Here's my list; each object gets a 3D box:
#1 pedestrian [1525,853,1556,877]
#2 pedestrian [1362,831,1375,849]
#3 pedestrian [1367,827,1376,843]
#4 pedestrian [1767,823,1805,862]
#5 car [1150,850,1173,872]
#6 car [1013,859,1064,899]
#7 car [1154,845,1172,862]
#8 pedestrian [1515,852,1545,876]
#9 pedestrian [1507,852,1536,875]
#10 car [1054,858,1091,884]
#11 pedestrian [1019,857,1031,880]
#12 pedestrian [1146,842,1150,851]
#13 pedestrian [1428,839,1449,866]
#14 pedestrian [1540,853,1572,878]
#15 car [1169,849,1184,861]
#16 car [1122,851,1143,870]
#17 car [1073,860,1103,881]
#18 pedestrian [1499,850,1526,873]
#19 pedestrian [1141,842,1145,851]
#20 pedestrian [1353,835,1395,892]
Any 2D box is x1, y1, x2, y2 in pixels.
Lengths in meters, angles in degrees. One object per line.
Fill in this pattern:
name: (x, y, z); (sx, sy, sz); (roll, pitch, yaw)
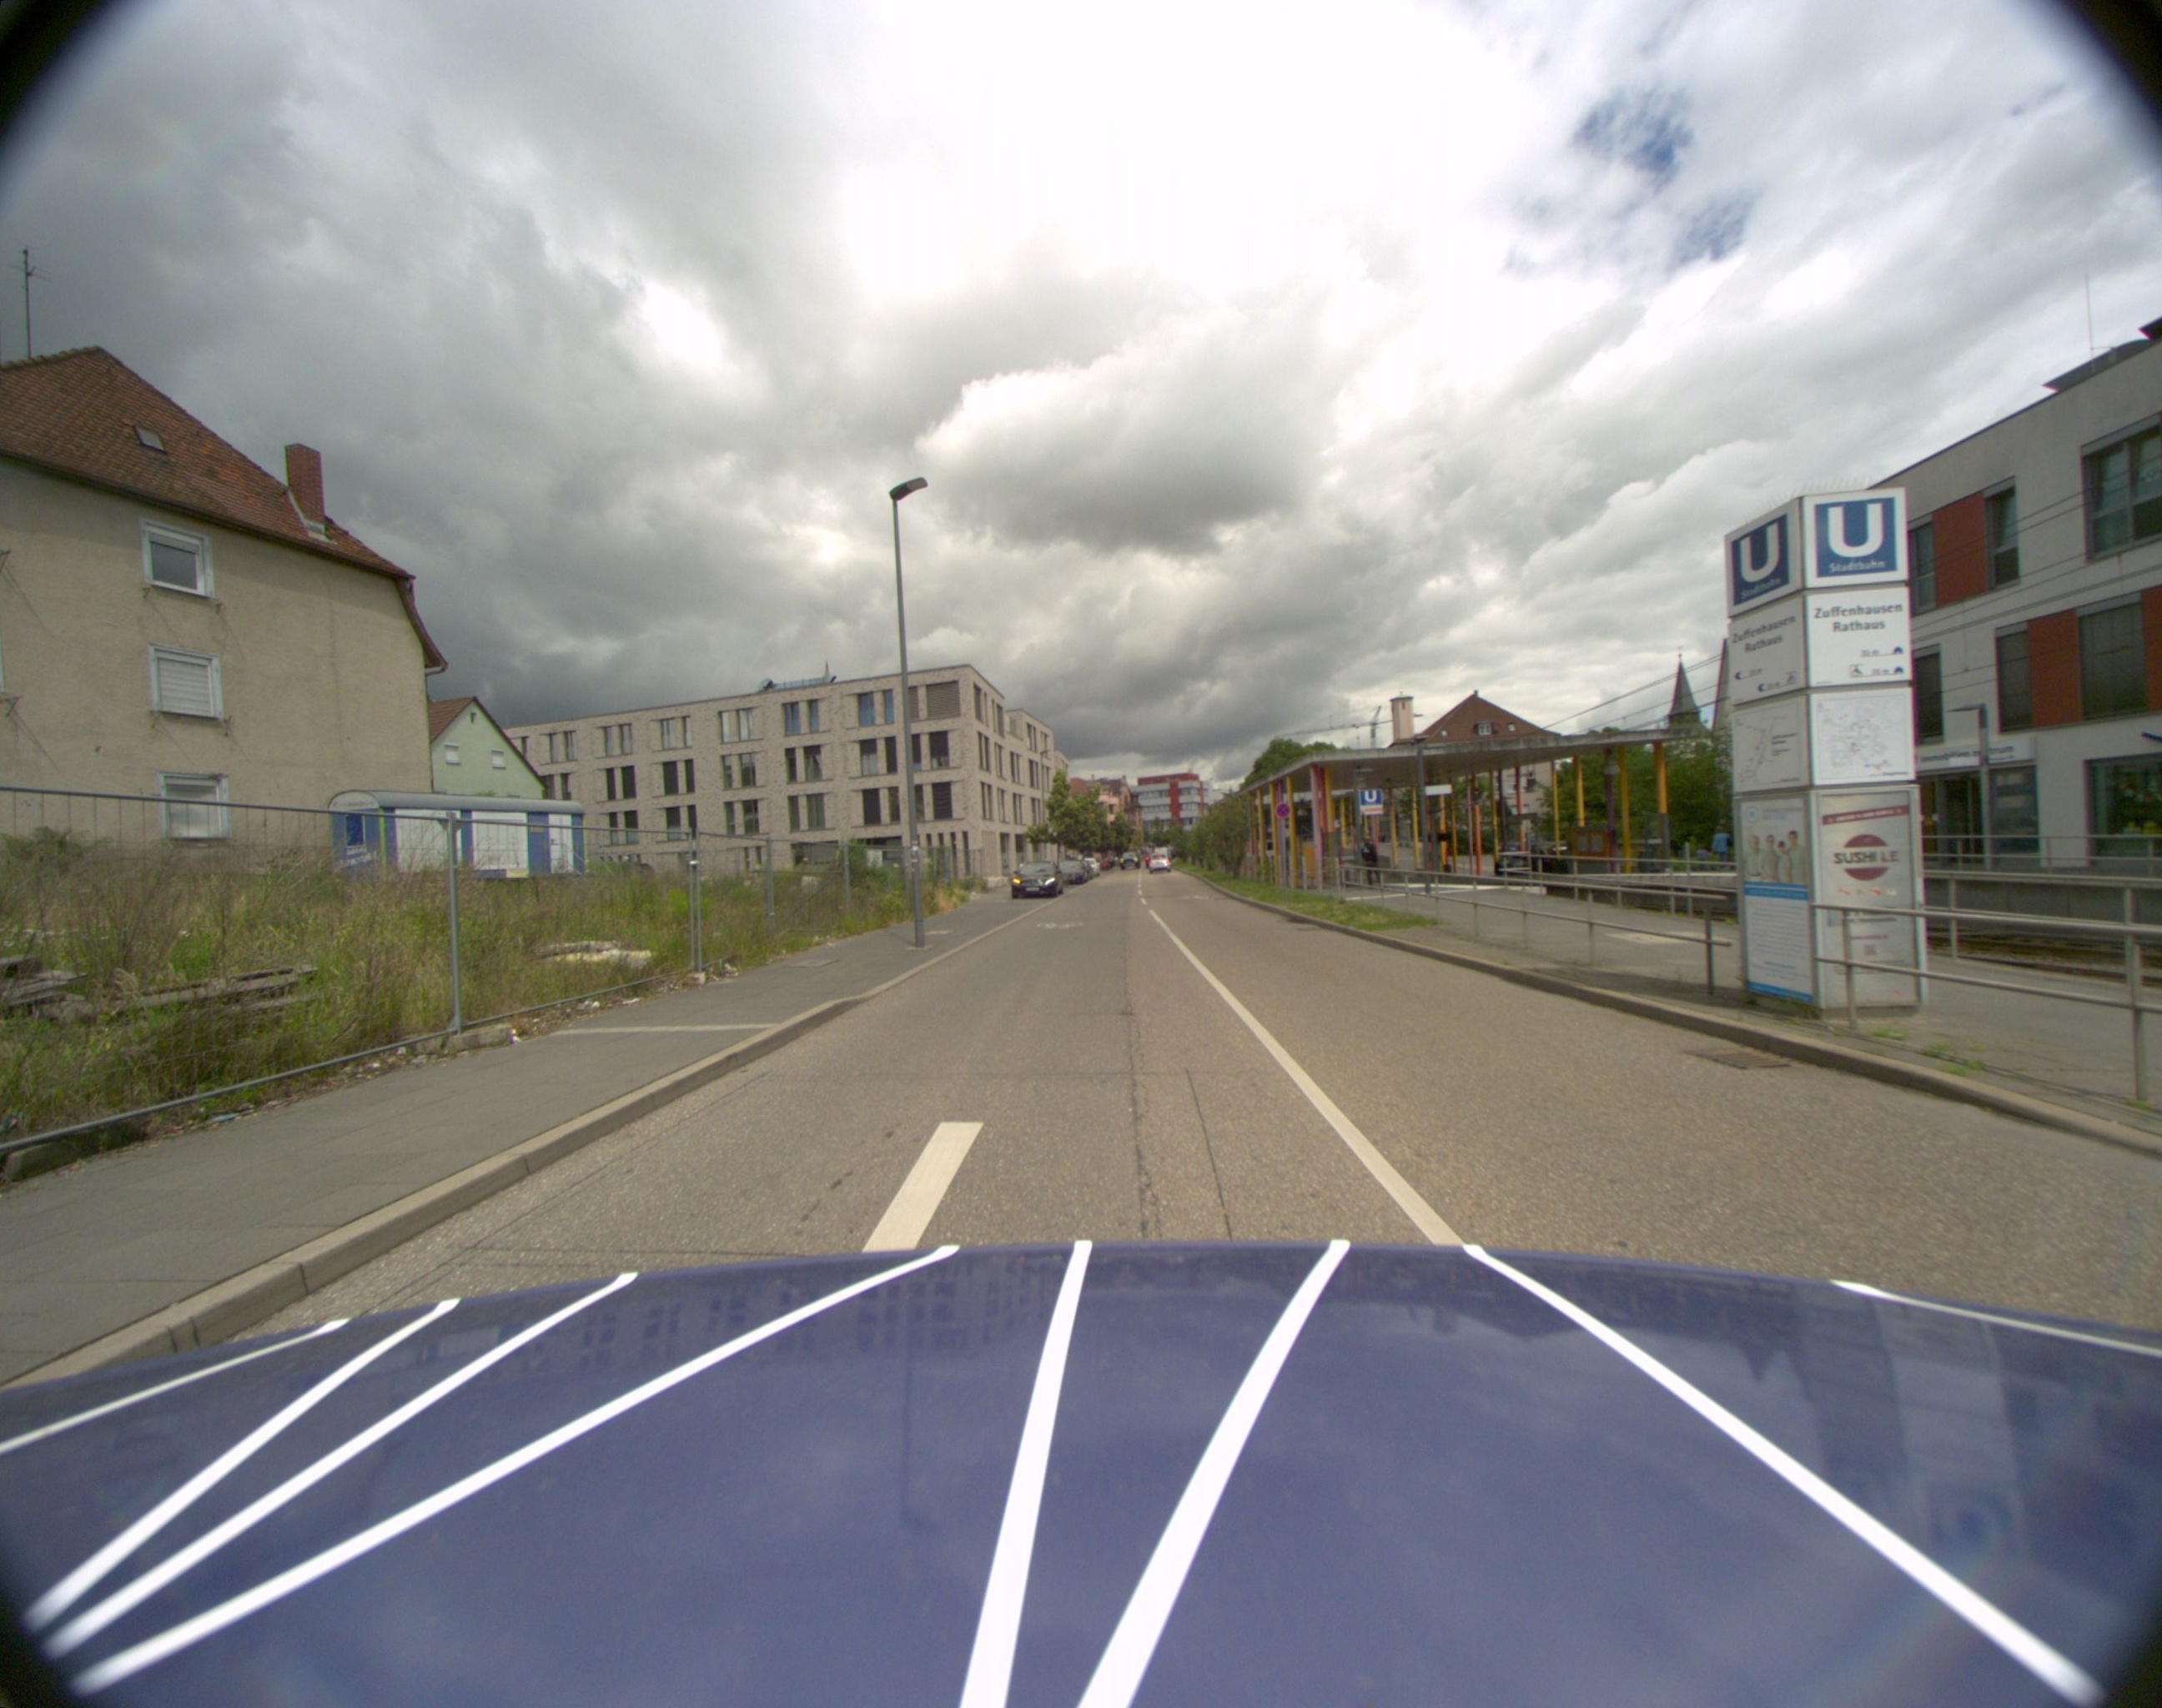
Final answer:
pedestrian: (21.971, 0.512, 36.334); (0.943, 1.128, 0.886); (-2, 0, 5)
pedestrian: (32.050, -1.577, 84.696); (1.127, 2.002, 0.816); (-2, 0, 9)
pedestrian: (39.181, -2.538, 102.476); (1.124, 2.002, 1.662); (-2, 0, 21)
pedestrian: (35.638, -0.575, 38.434); (1.104, 1.957, 0.865); (-1, 2, 10)
car: (6.306, 0.524, 59.693); (1.587, 1.528, 3.947); (-5, 1, 5)
car: (-1.685, 0.967, 31.180); (1.677, 1.415, 3.794); (-1, 1, 2)
car: (10.478, -0.101, 96.708); (1.997, 2.064, 4.002); (-1, 1, 10)
pedestrian: (22.040, 0.493, 37.290); (0.943, 1.128, 0.886); (-2, 0, 5)
pedestrian: (22.192, 0.471, 38.273); (0.943, 1.128, 0.886); (-2, 0, 5)
car: (-0.446, 0.972, 44.930); (1.677, 1.367, 3.796); (-2, 0, 6)
pedestrian: (-3.843, 1.004, 52.428); (0.673, 1.503, 0.783); (-2, 0, 4)
pedestrian: (12.105, -1.334, 136.804); (0.673, 1.503, 0.783); (-2, 0, 6)
pedestrian: (27.449, -0.121, 58.351); (1.127, 2.002, 1.179); (-2, 0, 9)
pedestrian: (22.112, 0.526, 35.369); (0.943, 1.128, 0.886); (-2, 0, 5)
car: (13.969, 0.161, 111.200); (1.866, 1.696, 4.002); (-1, 1, 11)
car: (5.684, 0.646, 83.497); (2.003, 1.876, 5.152); (-1, 1, 7)
car: (0.511, 1.119, 52.798); (1.677, 1.299, 3.795); (-1, 1, 6)
pedestrian: (22.306, 0.393, 39.294); (0.943, 1.128, 0.886); (-2, 0, 5)
pedestrian: (11.177, -1.312, 136.893); (0.673, 1.503, 0.783); (-2, 0, 6)
pedestrian: (10.005, 0.319, 25.992); (1.105, 1.903, 0.865); (-1, 2, 5)
